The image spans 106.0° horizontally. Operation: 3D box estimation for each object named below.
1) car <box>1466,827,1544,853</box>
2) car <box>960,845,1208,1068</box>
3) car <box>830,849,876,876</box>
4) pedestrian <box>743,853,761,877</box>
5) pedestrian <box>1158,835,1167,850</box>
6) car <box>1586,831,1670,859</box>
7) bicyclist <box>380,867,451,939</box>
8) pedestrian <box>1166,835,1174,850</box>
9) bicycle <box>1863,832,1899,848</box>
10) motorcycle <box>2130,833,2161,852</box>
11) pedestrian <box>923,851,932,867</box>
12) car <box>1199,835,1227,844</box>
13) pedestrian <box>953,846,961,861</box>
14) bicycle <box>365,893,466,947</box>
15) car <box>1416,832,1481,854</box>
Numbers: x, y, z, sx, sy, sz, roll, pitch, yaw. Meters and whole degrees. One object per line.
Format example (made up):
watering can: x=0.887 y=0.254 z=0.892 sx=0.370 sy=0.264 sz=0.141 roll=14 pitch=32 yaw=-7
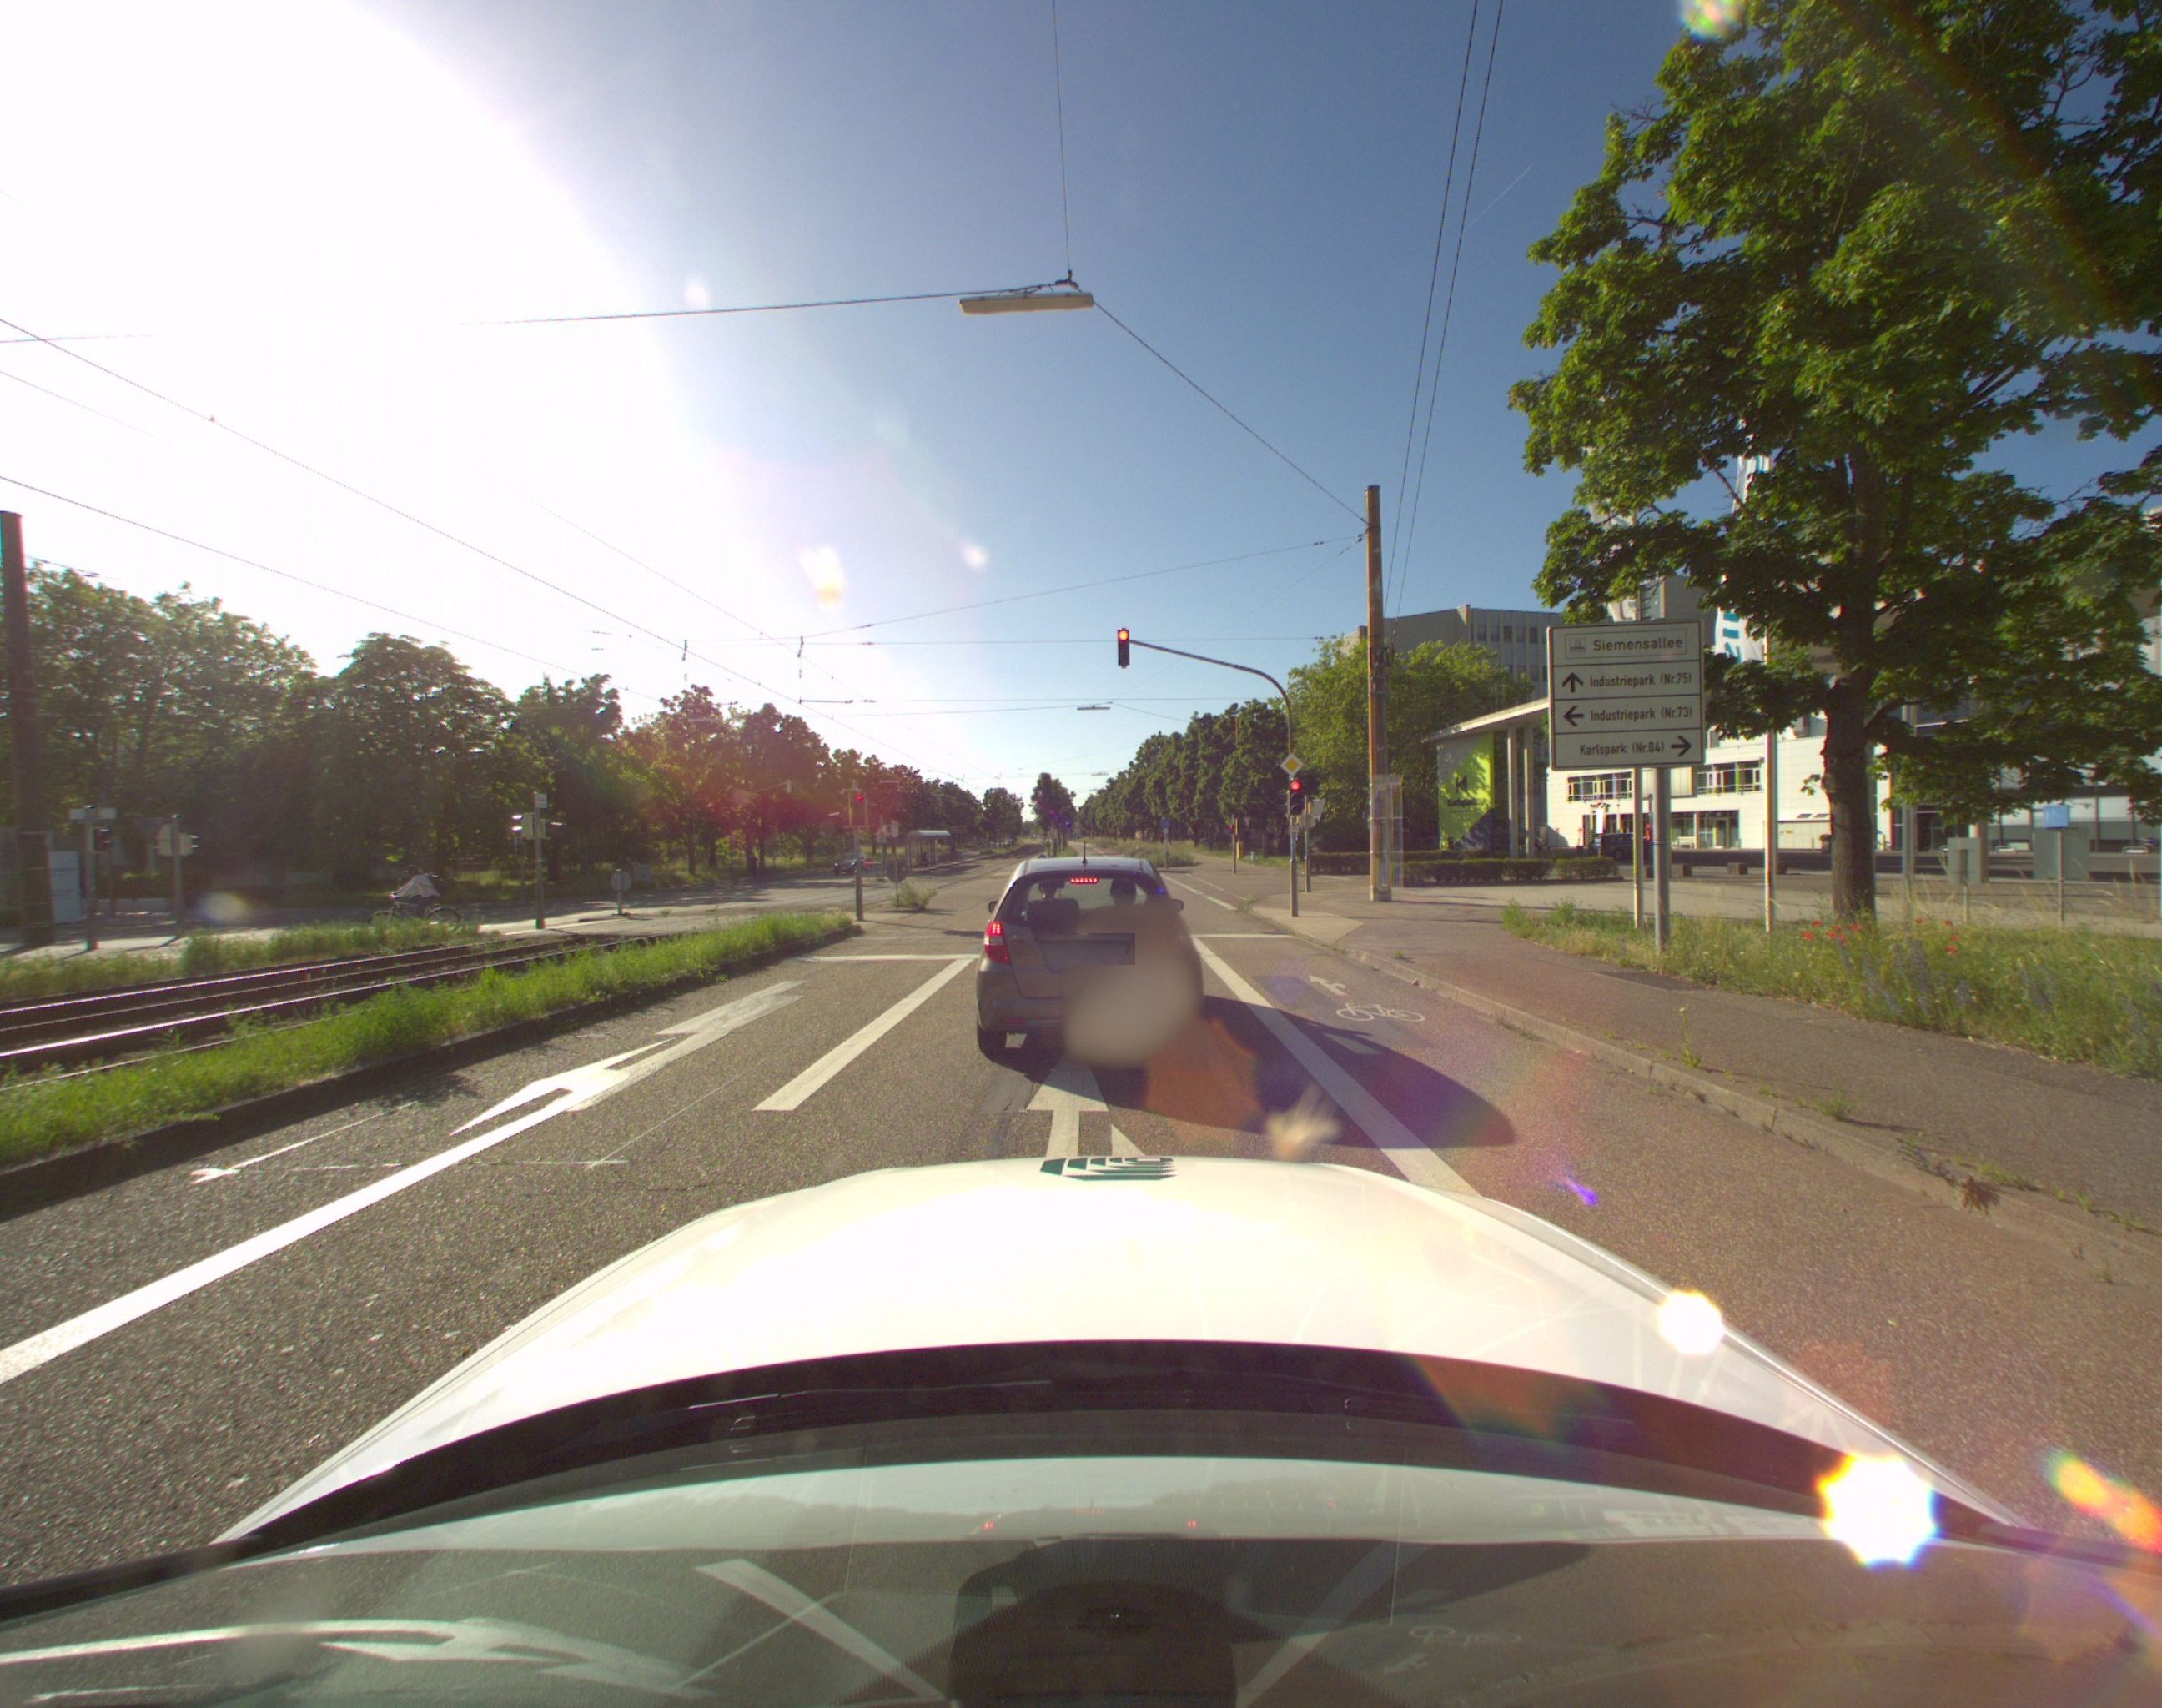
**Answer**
car: x=31.108 y=-1.045 z=59.771 sx=4.888 sy=1.757 sz=2.082 roll=-2 pitch=1 yaw=-14
car: x=0.080 y=0.713 z=7.484 sx=1.694 sy=1.524 sz=3.711 roll=-1 pitch=0 yaw=2
car: x=-17.607 y=0.589 z=63.135 sx=2.087 sy=1.810 sz=4.792 roll=-3 pitch=1 yaw=0
pedestrian: x=-24.322 y=0.816 z=60.214 sx=0.751 sy=1.734 sz=0.943 roll=-1 pitch=1 yaw=30
pedestrian: x=9.931 y=-1.399 z=99.493 sx=0.880 sy=1.884 sz=0.875 roll=-2 pitch=1 yaw=-2
car: x=33.321 y=-0.564 z=49.641 sx=3.984 sy=1.578 sz=1.949 roll=-1 pitch=0 yaw=-8
bicyclist: x=-15.622 y=1.111 z=19.148 sx=1.242 sy=1.593 sz=0.796 roll=-1 pitch=0 yaw=-38
pedestrian: x=10.866 y=-1.407 z=99.568 sx=0.880 sy=1.884 sz=0.875 roll=-2 pitch=1 yaw=-2
bicycle: x=52.271 y=-0.893 z=53.242 sx=0.565 sy=1.004 sz=1.614 roll=-2 pitch=1 yaw=-13
motorcycle: x=54.661 y=-0.581 z=41.255 sx=0.652 sy=0.947 sz=1.727 roll=-2 pitch=1 yaw=-13
pedestrian: x=-12.443 y=0.378 z=66.010 sx=0.562 sy=1.257 sz=0.581 roll=-4 pitch=0 yaw=1
car: x=23.413 y=-2.547 z=144.249 sx=4.623 sy=1.555 sz=1.997 roll=-2 pitch=1 yaw=-5
pedestrian: x=-12.264 y=-0.049 z=80.579 sx=0.542 sy=1.447 sz=0.559 roll=-2 pitch=0 yaw=1
bicycle: x=-15.614 y=1.529 z=19.161 sx=1.790 sy=1.102 sz=0.691 roll=-1 pitch=0 yaw=-38
car: x=30.047 y=-0.921 z=66.663 sx=4.448 sy=1.686 sz=1.892 roll=-2 pitch=1 yaw=-4
